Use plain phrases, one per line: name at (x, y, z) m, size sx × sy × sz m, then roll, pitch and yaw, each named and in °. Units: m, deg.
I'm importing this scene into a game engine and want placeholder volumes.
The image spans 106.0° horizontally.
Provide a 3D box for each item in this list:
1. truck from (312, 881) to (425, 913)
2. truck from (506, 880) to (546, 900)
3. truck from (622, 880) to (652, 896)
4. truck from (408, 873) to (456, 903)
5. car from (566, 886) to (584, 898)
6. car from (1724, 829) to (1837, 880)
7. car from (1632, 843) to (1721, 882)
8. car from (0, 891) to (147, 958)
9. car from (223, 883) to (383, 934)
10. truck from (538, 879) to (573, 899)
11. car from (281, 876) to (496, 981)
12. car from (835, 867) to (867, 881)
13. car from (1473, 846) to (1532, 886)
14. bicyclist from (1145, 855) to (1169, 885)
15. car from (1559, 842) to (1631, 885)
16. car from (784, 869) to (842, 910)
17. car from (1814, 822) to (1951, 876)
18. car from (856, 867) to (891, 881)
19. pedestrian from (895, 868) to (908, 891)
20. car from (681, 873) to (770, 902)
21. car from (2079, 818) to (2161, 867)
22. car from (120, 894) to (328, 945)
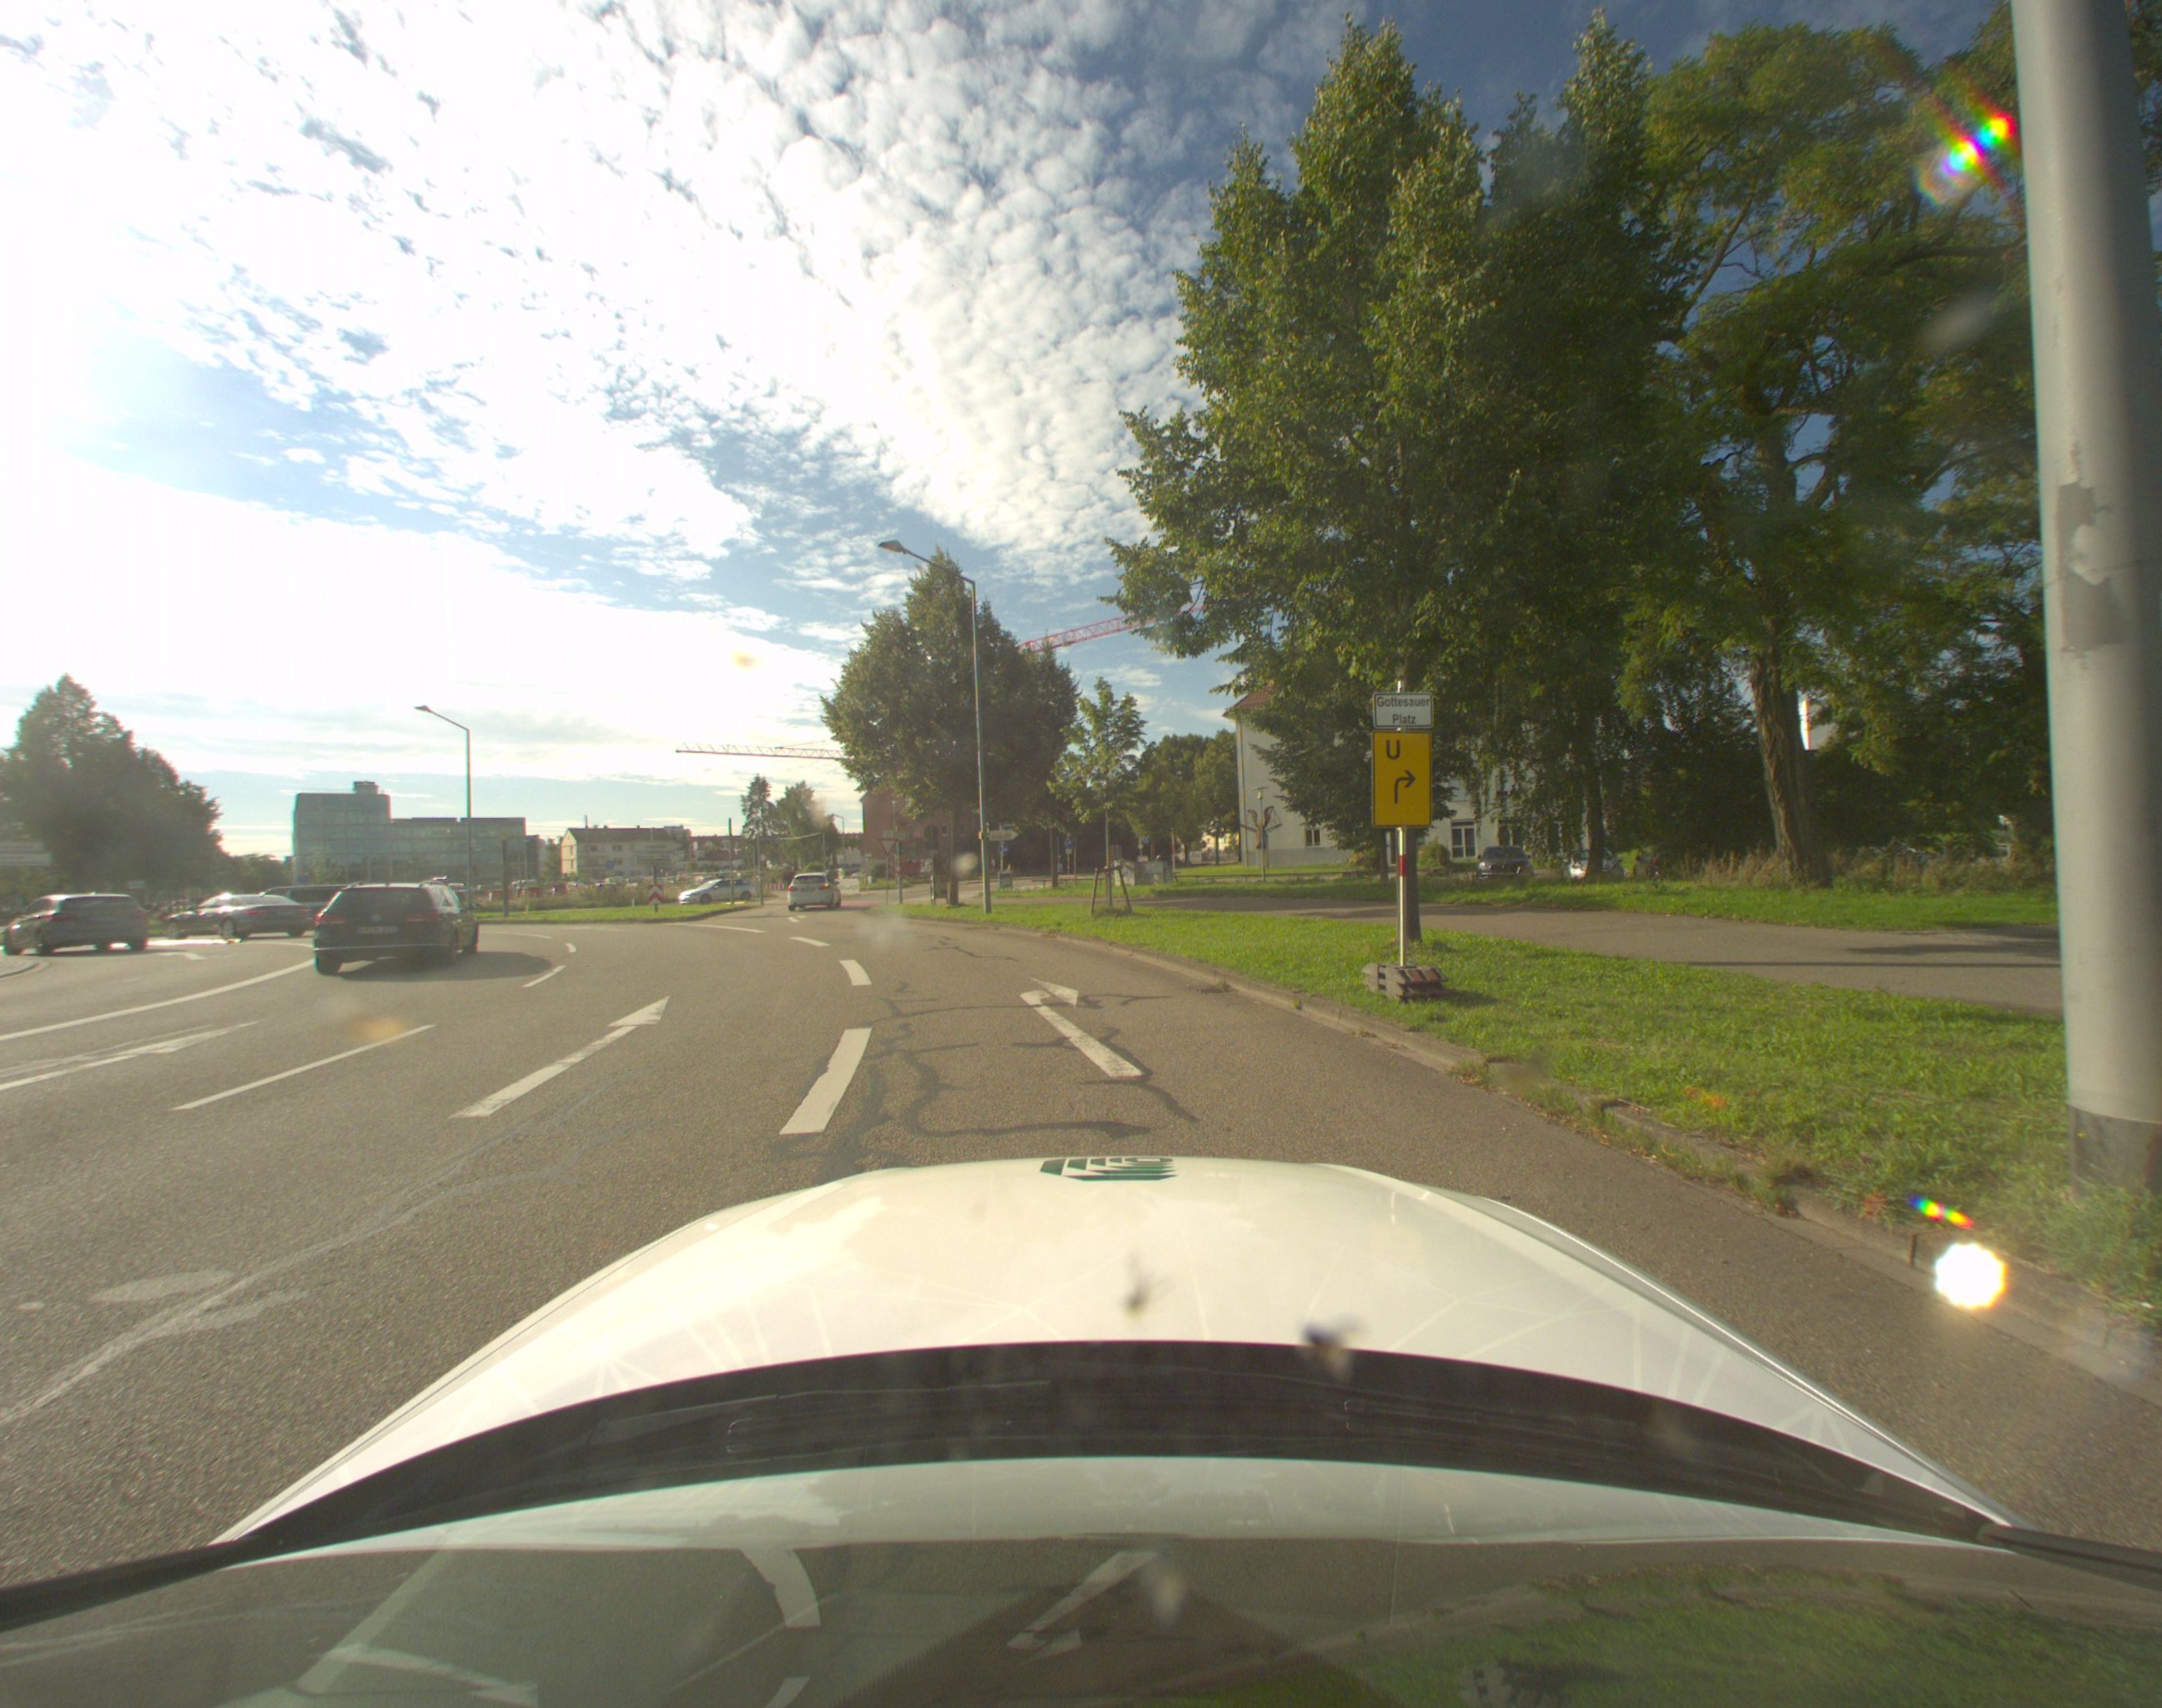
truck at (-68.523, 4.086, 78.427) m, size 3.035 × 2.567 × 7.907 m, roll -3°, pitch -1°, yaw 44°
truck at (-67.308, 4.396, 98.768) m, size 6.369 × 2.328 × 2.349 m, roll -3°, pitch -1°, yaw 41°
truck at (-63.003, 4.852, 115.614) m, size 5.336 × 2.172 × 1.993 m, roll -3°, pitch -1°, yaw 42°
truck at (-73.017, 3.868, 91.516) m, size 7.221 × 3.207 × 2.834 m, roll -3°, pitch -1°, yaw 41°
car at (-84.184, 6.321, 135.543) m, size 2.010 × 1.860 × 3.953 m, roll -2°, pitch -1°, yaw -40°
car at (23.692, -0.002, 27.792) m, size 1.837 × 1.515 × 4.762 m, roll -3°, pitch -1°, yaw 28°
car at (21.279, 0.268, 29.267) m, size 1.837 × 1.207 × 4.762 m, roll -3°, pitch -1°, yaw 28°
car at (-26.877, 1.817, 21.686) m, size 4.015 × 1.572 × 1.784 m, roll -2°, pitch -1°, yaw 28°
car at (-34.002, 2.337, 35.775) m, size 4.669 × 1.903 × 1.886 m, roll -1°, pitch -1°, yaw -26°
truck at (-65.184, 4.315, 101.038) m, size 5.566 × 2.328 × 2.076 m, roll -3°, pitch -1°, yaw 41°
car at (-12.532, 1.214, 15.141) m, size 2.005 × 1.566 × 4.800 m, roll -1°, pitch -1°, yaw -28°
car at (-30.773, 2.684, 108.976) m, size 3.999 × 1.618 × 1.762 m, roll -2°, pitch -1°, yaw -19°
car at (16.318, 0.427, 31.518) m, size 1.837 × 1.381 × 4.543 m, roll -3°, pitch -1°, yaw 28°
bicyclist at (3.999, 0.840, 42.895) m, size 0.947 × 1.575 × 0.777 m, roll -2°, pitch -1°, yaw 34°
car at (19.058, 0.323, 30.384) m, size 1.837 × 1.440 × 4.762 m, roll -3°, pitch -1°, yaw 28°
car at (-11.521, 1.473, 35.310) m, size 1.852 × 1.572 × 4.437 m, roll -1°, pitch 0°, yaw -12°
car at (26.028, -0.161, 26.659) m, size 1.837 × 1.515 × 4.762 m, roll -3°, pitch -1°, yaw 28°
car at (-26.522, 2.527, 104.184) m, size 3.984 × 1.618 × 1.768 m, roll -2°, pitch -1°, yaw -8°
pedestrian at (-14.609, 2.075, 66.374) m, size 0.663 × 1.871 × 0.837 m, roll -3°, pitch -1°, yaw 9°
car at (-21.092, 1.980, 48.467) m, size 1.800 × 1.452 × 4.571 m, roll -3°, pitch -1°, yaw 32°
car at (32.060, -0.377, 23.823) m, size 1.837 × 1.359 × 4.762 m, roll -3°, pitch -1°, yaw 28°
car at (-28.072, 2.120, 26.813) m, size 4.635 × 1.431 × 1.900 m, roll -1°, pitch -1°, yaw -3°
